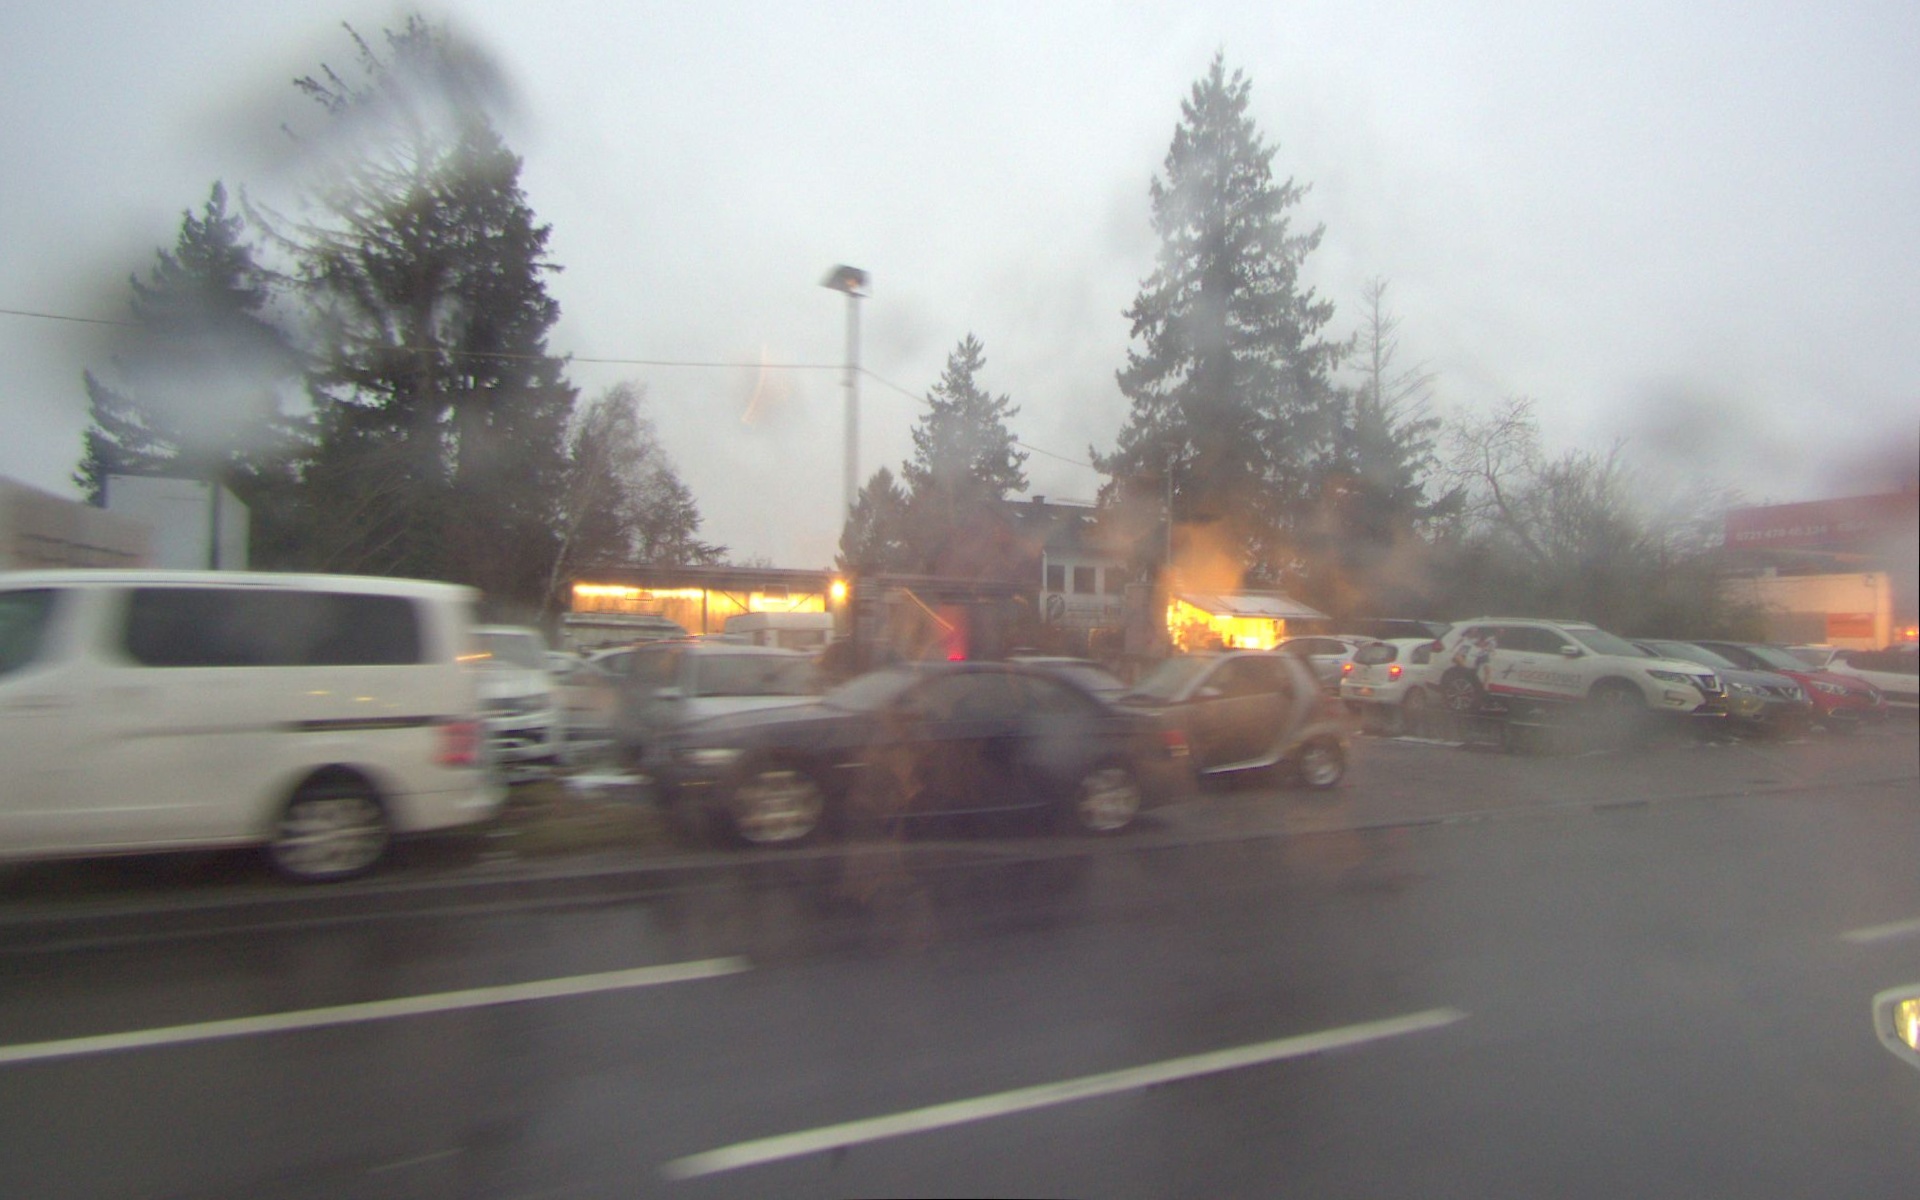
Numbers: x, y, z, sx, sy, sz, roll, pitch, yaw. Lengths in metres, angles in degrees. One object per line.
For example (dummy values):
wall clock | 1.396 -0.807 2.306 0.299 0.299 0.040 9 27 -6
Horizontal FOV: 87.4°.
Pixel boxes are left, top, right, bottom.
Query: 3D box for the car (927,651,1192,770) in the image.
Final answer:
car | 1.237 1.509 14.886 1.759 1.456 4.743 1 -4 -25

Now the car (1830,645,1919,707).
car | 22.995 1.814 23.320 1.814 1.363 3.849 2 -1 -23

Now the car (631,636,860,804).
car | -2.541 1.240 11.159 1.784 1.496 3.903 2 -5 -23

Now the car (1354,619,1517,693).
car | 13.509 1.540 28.789 1.931 1.948 3.978 1 -1 -23

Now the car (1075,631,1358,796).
car | 2.797 1.189 11.088 2.822 1.666 1.172 1 -2 -15

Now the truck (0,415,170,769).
truck | -10.227 -0.051 9.774 2.302 3.183 6.841 1 -2 -24

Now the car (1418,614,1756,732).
car | 10.360 1.116 17.026 1.984 1.699 4.518 1 -2 -27

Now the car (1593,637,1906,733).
car | 14.621 1.496 18.929 1.799 1.518 4.327 1 -2 -22

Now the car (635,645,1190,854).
car | -0.316 1.125 8.125 4.200 1.338 1.565 4 -4 -26

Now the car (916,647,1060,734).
car | 0.483 1.748 20.071 1.335 1.568 3.140 1 -3 -33

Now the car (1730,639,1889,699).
car | 23.555 1.882 27.873 3.815 1.509 1.830 1 0 -22

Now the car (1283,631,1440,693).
car | 10.974 1.653 27.763 1.764 1.530 3.978 1 -1 -23

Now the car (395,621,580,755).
car | -6.000 0.984 12.765 1.791 1.395 4.035 1 -2 -26

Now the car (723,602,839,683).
car | -5.615 1.284 31.132 2.240 2.311 4.211 1 -2 -30

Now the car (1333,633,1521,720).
car | 9.830 1.557 21.138 3.657 1.698 1.664 2 -2 -26

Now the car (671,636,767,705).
car | -6.515 1.829 26.951 1.669 1.705 3.667 1 -3 -27

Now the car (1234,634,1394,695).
car | 8.794 1.593 25.200 3.549 1.402 1.676 1 -1 10

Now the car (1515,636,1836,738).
car | 12.461 1.436 17.871 1.964 1.518 4.330 1 -2 -20

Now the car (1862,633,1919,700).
car | 25.322 1.683 24.854 1.913 1.671 4.041 1 -2 -21

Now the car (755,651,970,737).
car | -1.767 1.626 17.911 3.587 1.416 1.667 1 -3 -17

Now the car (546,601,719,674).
car | -10.923 1.272 33.574 5.222 2.292 1.986 2 -2 -28

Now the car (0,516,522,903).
car | -5.203 0.605 6.249 4.418 2.040 1.832 2 -2 -22

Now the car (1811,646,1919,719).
car | 21.314 1.824 21.964 1.752 1.479 3.760 1 -1 -25
